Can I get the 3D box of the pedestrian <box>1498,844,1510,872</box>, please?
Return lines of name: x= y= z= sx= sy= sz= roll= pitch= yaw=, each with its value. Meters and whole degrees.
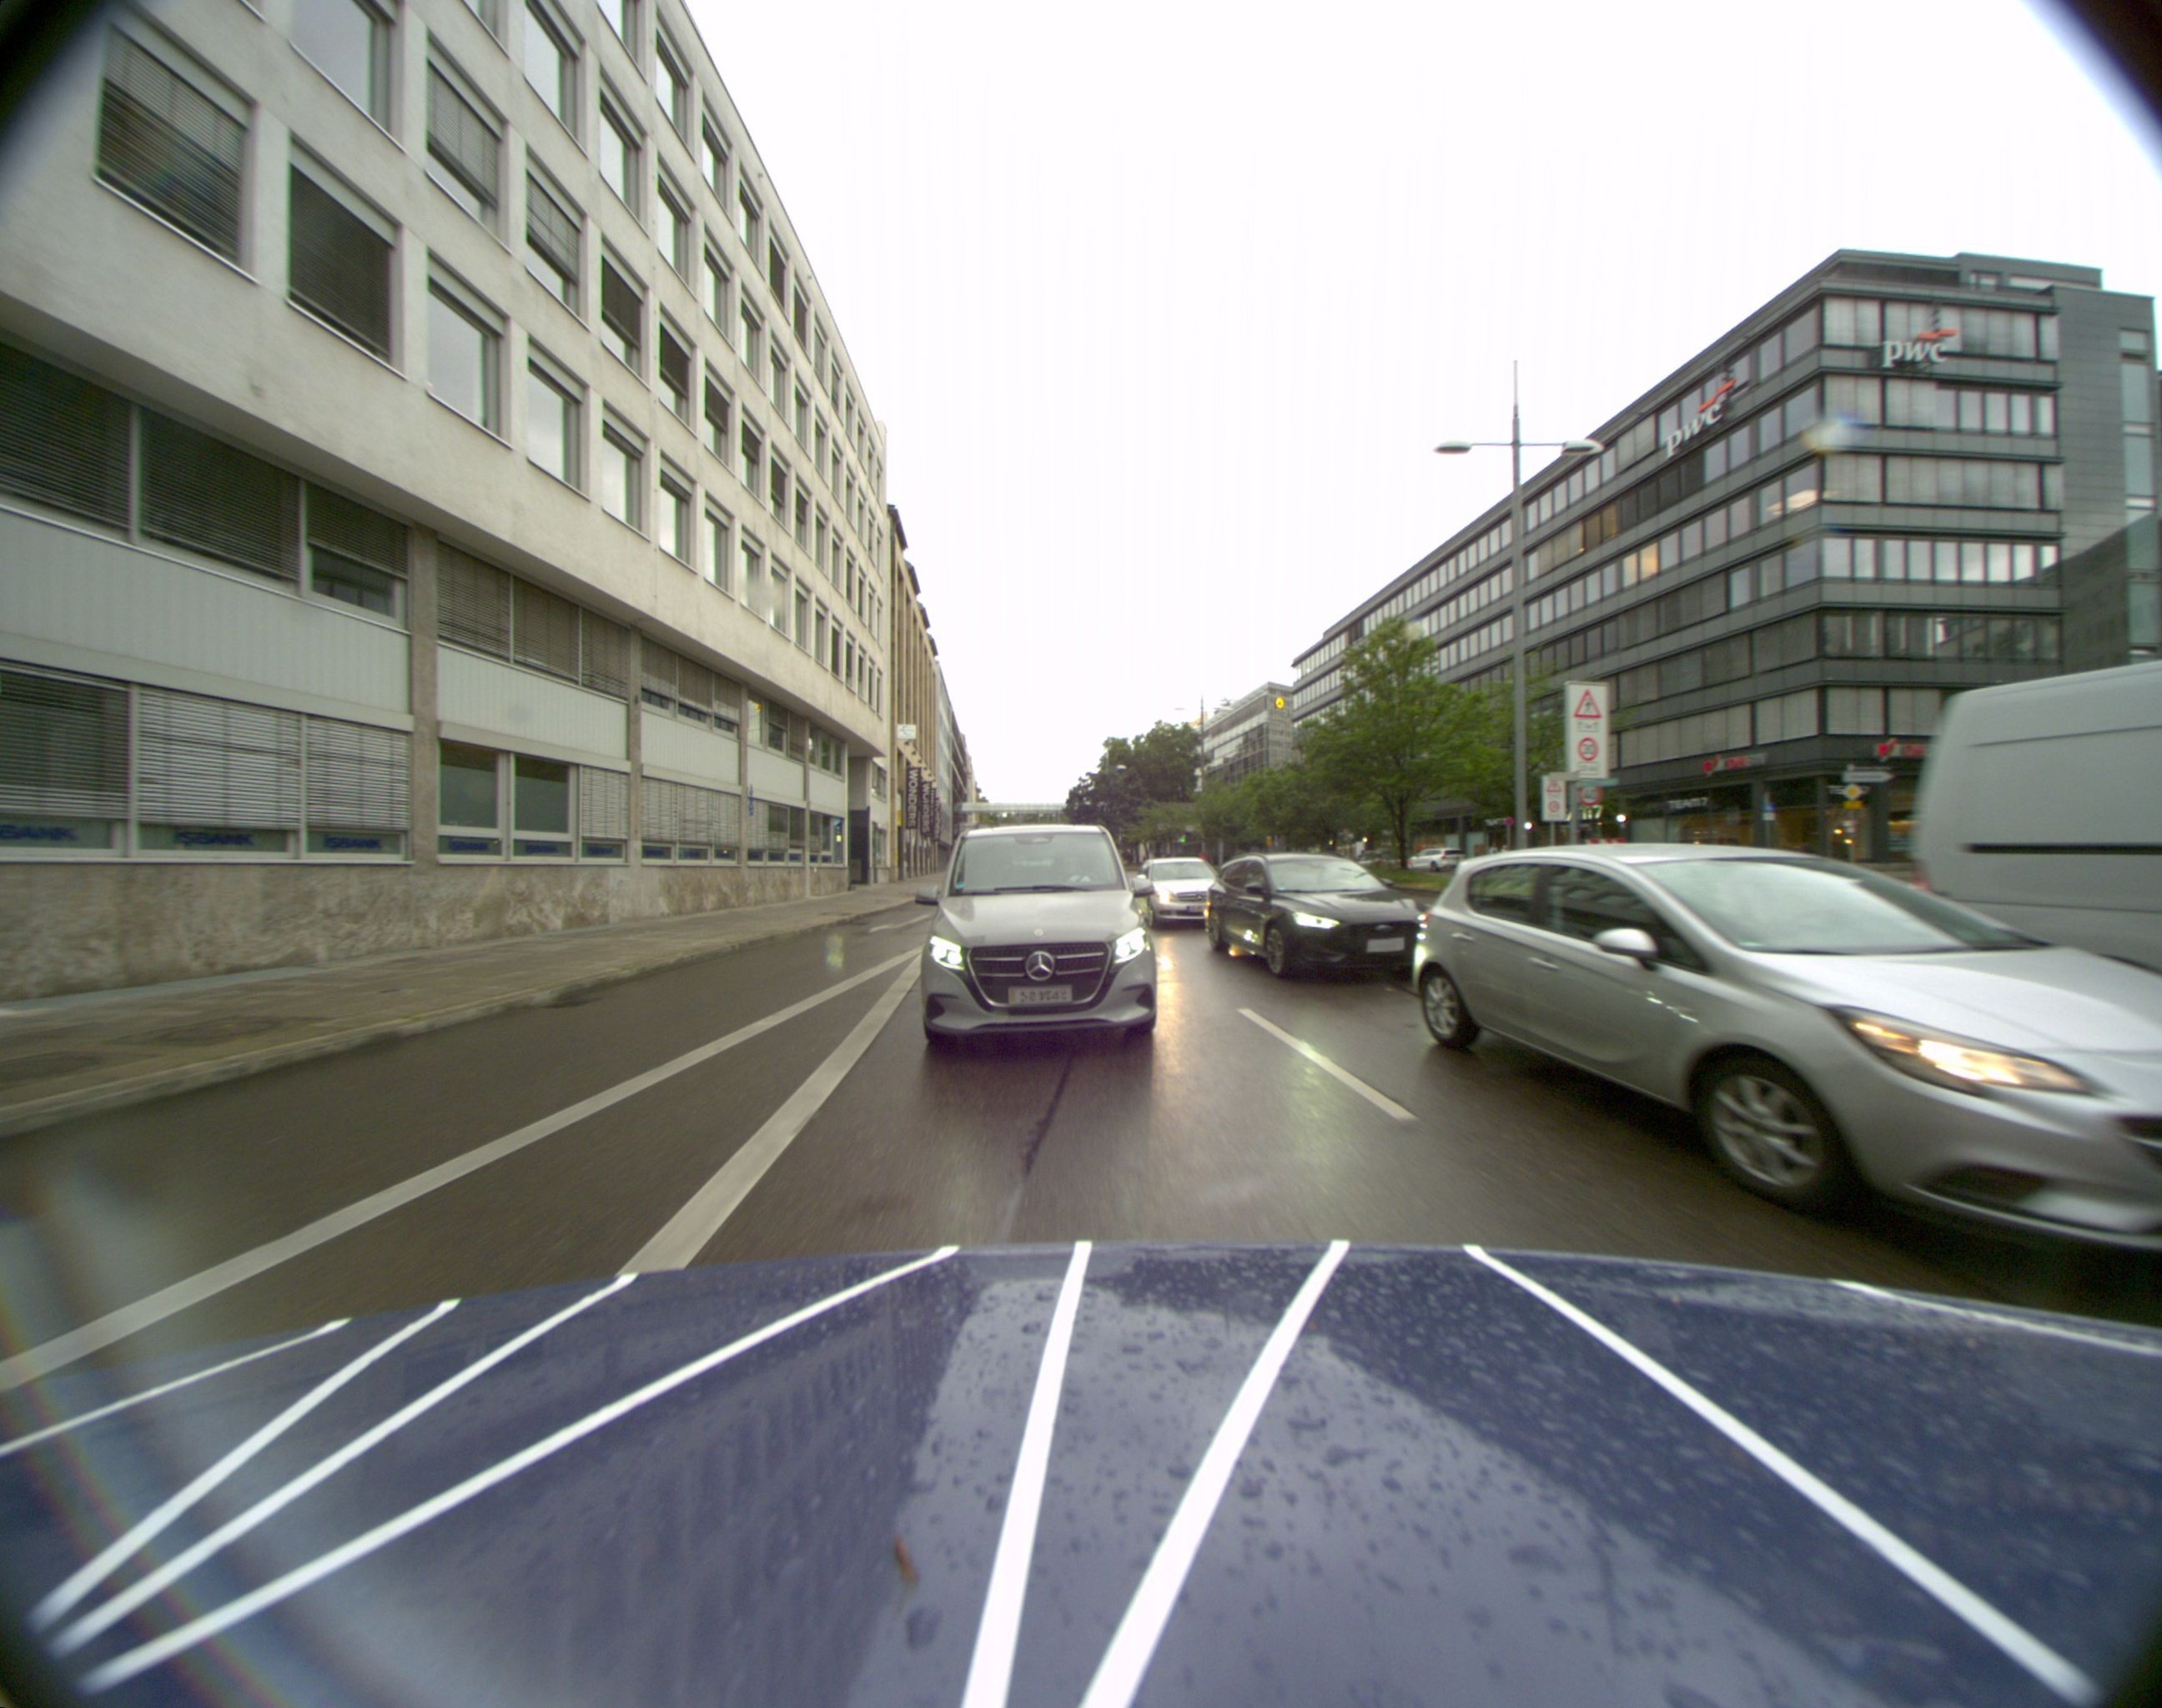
pedestrian: x=30.666 y=0.295 z=55.134 sx=0.575 sy=2.002 sz=0.461 roll=-2 pitch=1 yaw=-7

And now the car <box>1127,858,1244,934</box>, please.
car: x=2.149 y=0.825 z=16.735 sx=1.776 sy=1.372 sz=4.093 roll=-2 pitch=0 yaw=-3

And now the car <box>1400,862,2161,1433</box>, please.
car: x=3.411 y=0.810 z=4.008 sx=1.653 sy=1.427 sz=3.874 roll=-2 pitch=0 yaw=-2

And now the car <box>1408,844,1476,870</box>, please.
car: x=22.540 y=0.174 z=47.614 sx=1.999 sy=1.498 sz=3.998 roll=-2 pitch=0 yaw=-6

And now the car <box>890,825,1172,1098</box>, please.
car: x=-0.444 y=0.752 z=7.867 sx=1.917 sy=1.844 sz=5.025 roll=-2 pitch=0 yaw=-2

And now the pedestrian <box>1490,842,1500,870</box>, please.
pedestrian: x=29.175 y=0.141 z=53.523 sx=0.541 sy=2.002 sz=0.297 roll=-2 pitch=1 yaw=-7

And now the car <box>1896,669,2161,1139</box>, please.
car: x=6.729 y=0.227 z=2.439 sx=1.952 sy=2.426 sz=5.476 roll=-2 pitch=0 yaw=-7

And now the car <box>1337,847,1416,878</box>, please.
car: x=14.424 y=0.382 z=37.269 sx=1.752 sy=1.365 sz=3.996 roll=-2 pitch=0 yaw=-10

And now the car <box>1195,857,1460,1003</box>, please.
car: x=2.886 y=0.789 z=9.951 sx=1.777 sy=1.427 sz=4.092 roll=-2 pitch=0 yaw=-6

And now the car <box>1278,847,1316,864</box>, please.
car: x=20.039 y=0.162 z=70.540 sx=1.999 sy=1.498 sz=3.998 roll=-2 pitch=0 yaw=-6
